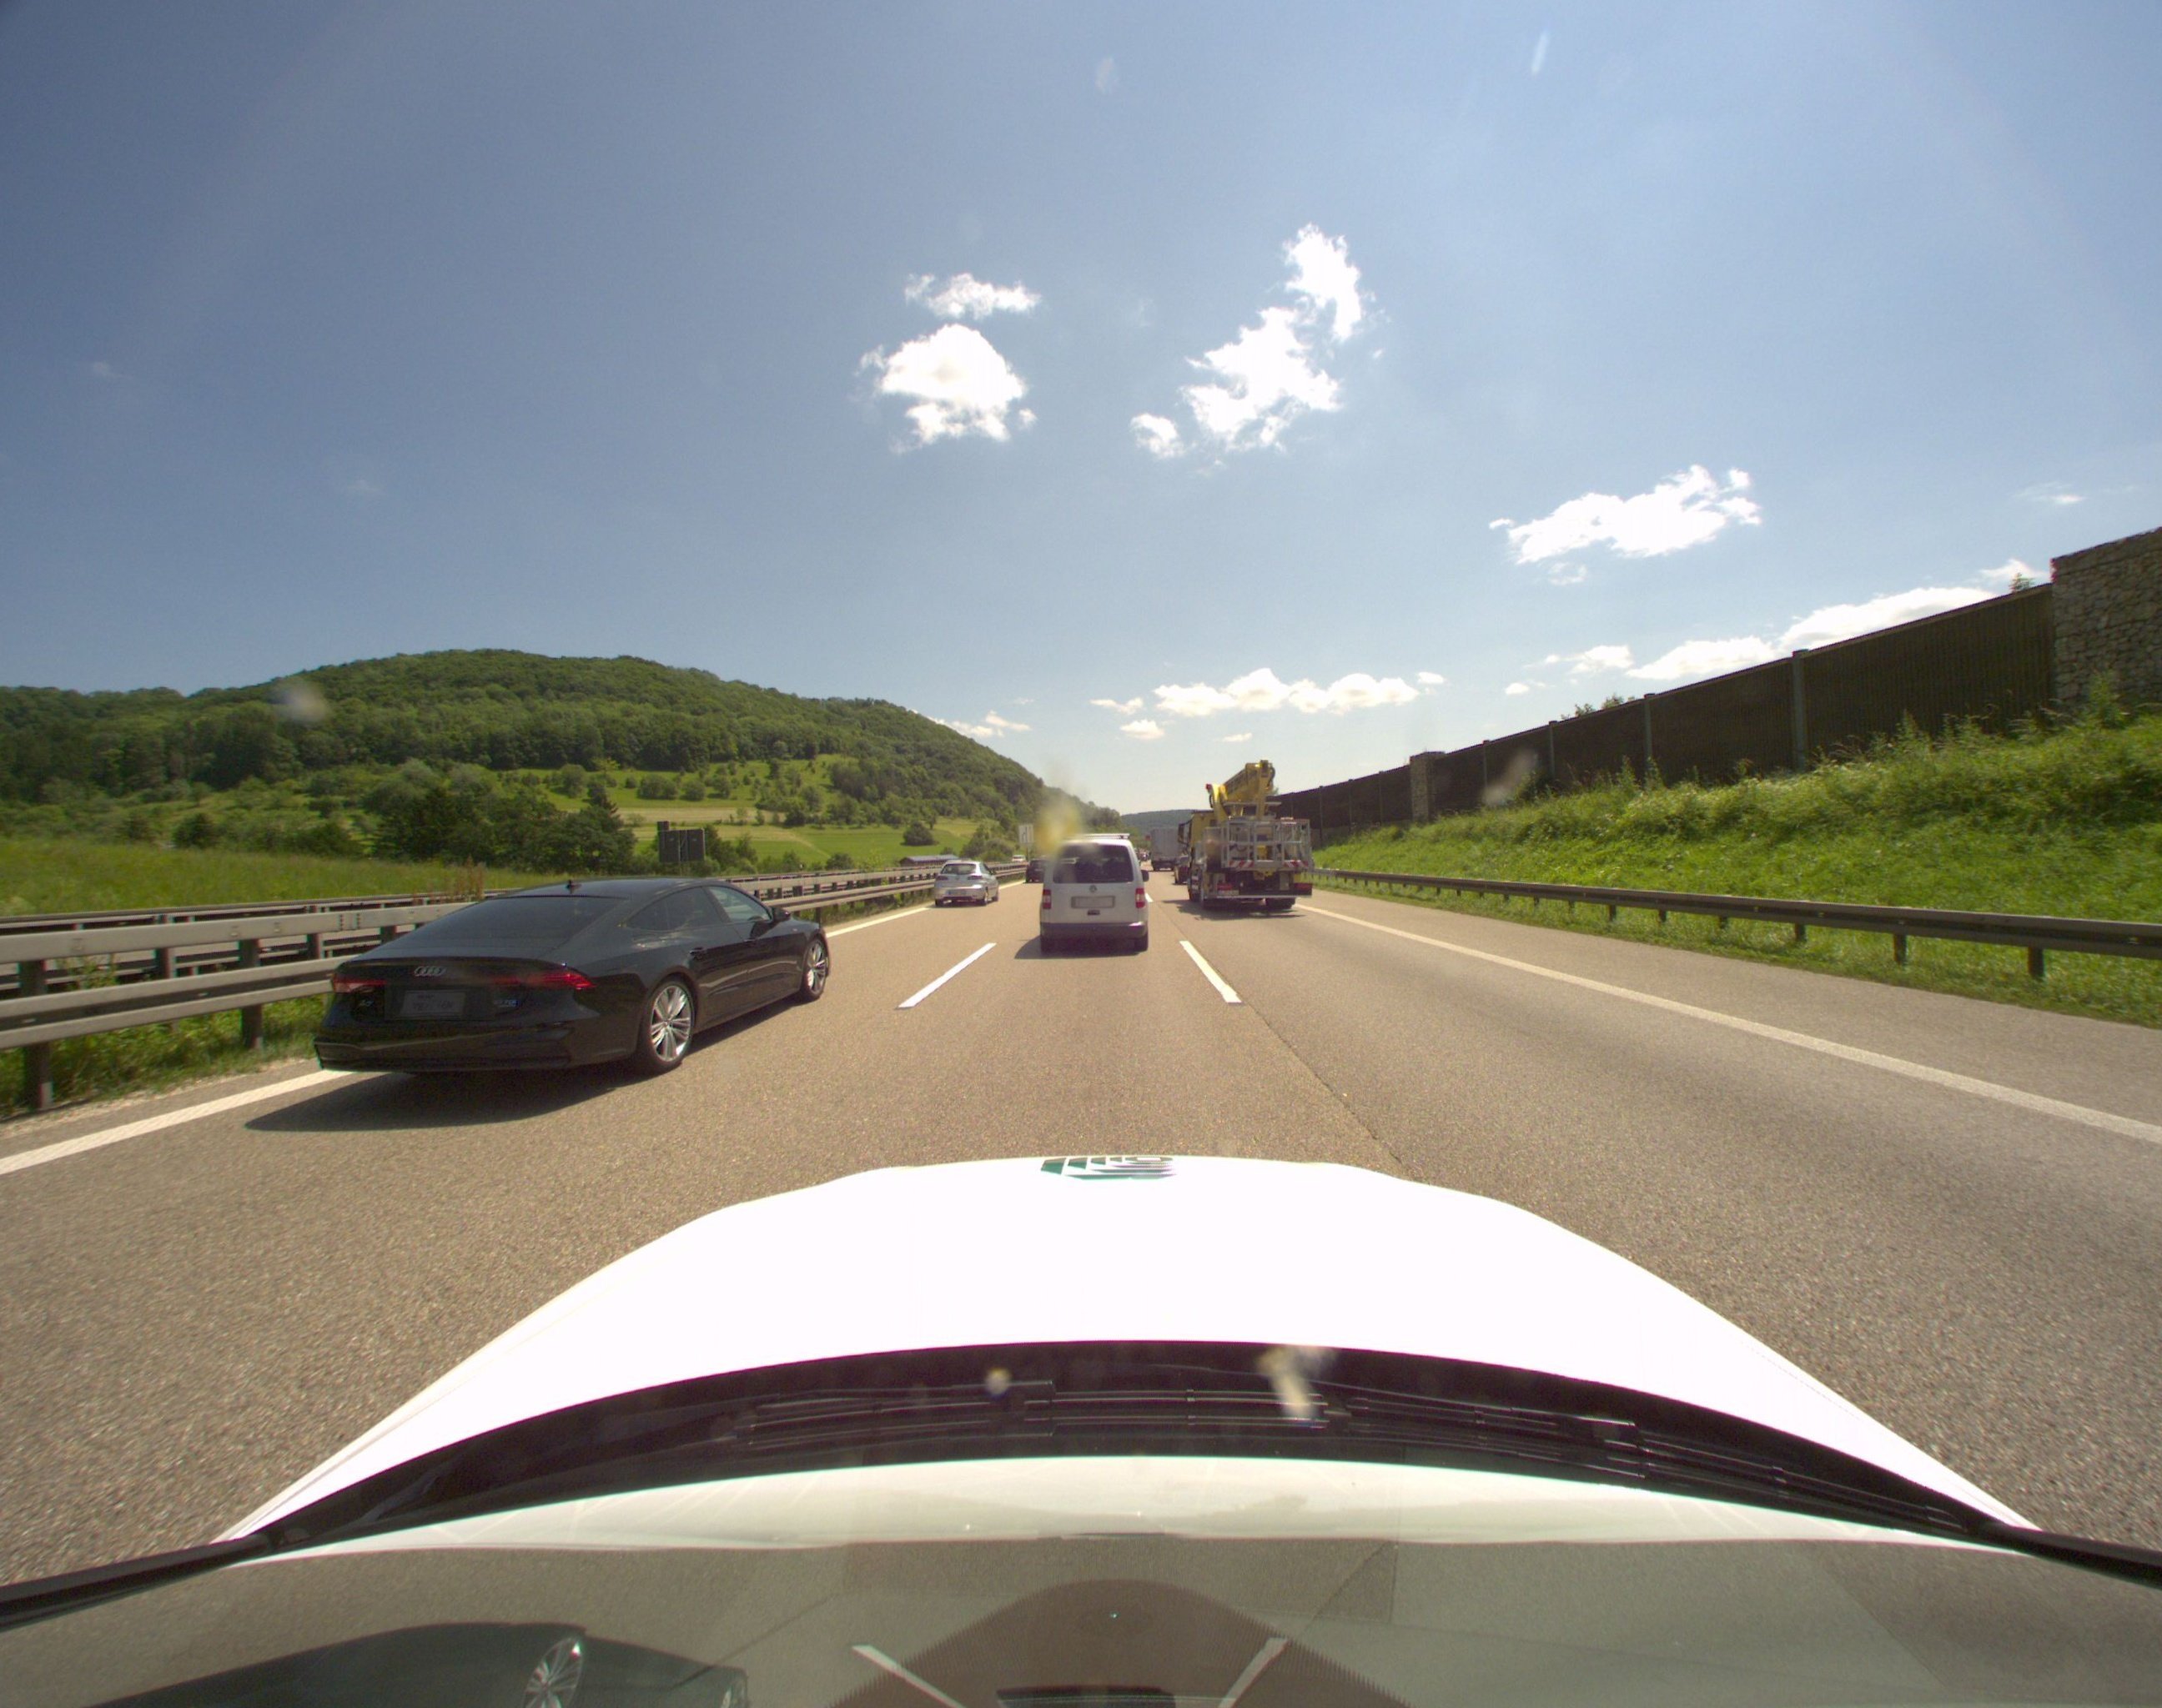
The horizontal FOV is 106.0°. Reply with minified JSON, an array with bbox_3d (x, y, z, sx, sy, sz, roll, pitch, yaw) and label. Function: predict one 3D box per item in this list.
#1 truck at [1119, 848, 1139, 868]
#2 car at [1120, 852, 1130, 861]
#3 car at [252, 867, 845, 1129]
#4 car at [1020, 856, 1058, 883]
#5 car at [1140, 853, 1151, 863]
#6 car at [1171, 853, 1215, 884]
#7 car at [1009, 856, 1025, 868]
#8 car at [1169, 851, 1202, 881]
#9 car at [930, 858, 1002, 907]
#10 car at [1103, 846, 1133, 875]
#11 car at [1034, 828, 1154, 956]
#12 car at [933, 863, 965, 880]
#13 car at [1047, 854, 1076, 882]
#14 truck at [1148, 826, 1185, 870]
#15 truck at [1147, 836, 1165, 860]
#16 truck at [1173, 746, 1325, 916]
[{"bbox_3d":[6.226,0.495,105.924,2.381,2.541,5.941,-1,0,1],"label":"truck"},{"bbox_3d":[8.878,0.445,163.268,1.986,1.805,4.002,-1,-1,2],"label":"car"},{"bbox_3d":[-3.791,0.869,7.166,1.794,1.390,4.971,-1,0,2],"label":"car"},{"bbox_3d":[-2.433,0.883,48.339,1.918,1.499,4.001,-1,0,1],"label":"car"},{"bbox_3d":[12.420,0.819,157.896,1.986,1.805,4.002,-1,-1,2],"label":"car"},{"bbox_3d":[5.693,0.729,41.614,1.780,1.458,3.772,-1,0,1],"label":"car"},{"bbox_3d":[-10.834,1.282,138.075,2.052,1.941,4.663,-1,0,2],"label":"car"},{"bbox_3d":[7.346,0.802,57.604,1.985,2.013,4.003,-1,0,3],"label":"car"},{"bbox_3d":[-3.732,0.894,26.926,1.689,1.445,3.863,-1,0,2],"label":"car"},{"bbox_3d":[2.607,0.446,57.948,1.986,1.975,4.001,-1,0,1],"label":"car"},{"bbox_3d":[0.241,0.577,14.206,1.750,1.868,4.001,-1,0,1],"label":"car"},{"bbox_3d":[-11.756,1.540,72.771,1.986,1.455,4.529,-1,0,2],"label":"car"},{"bbox_3d":[-1.486,1.073,64.123,1.986,2.013,4.001,-2,0,1],"label":"car"},{"bbox_3d":[7.824,-0.498,75.527,2.928,3.823,8.241,-1,-1,2],"label":"truck"},{"bbox_3d":[10.597,-0.851,115.213,1.986,3.251,6.801,0,-1,1],"label":"truck"},{"bbox_3d":[4.453,-0.536,23.555,2.694,3.942,8.724,-1,0,1],"label":"truck"}]
